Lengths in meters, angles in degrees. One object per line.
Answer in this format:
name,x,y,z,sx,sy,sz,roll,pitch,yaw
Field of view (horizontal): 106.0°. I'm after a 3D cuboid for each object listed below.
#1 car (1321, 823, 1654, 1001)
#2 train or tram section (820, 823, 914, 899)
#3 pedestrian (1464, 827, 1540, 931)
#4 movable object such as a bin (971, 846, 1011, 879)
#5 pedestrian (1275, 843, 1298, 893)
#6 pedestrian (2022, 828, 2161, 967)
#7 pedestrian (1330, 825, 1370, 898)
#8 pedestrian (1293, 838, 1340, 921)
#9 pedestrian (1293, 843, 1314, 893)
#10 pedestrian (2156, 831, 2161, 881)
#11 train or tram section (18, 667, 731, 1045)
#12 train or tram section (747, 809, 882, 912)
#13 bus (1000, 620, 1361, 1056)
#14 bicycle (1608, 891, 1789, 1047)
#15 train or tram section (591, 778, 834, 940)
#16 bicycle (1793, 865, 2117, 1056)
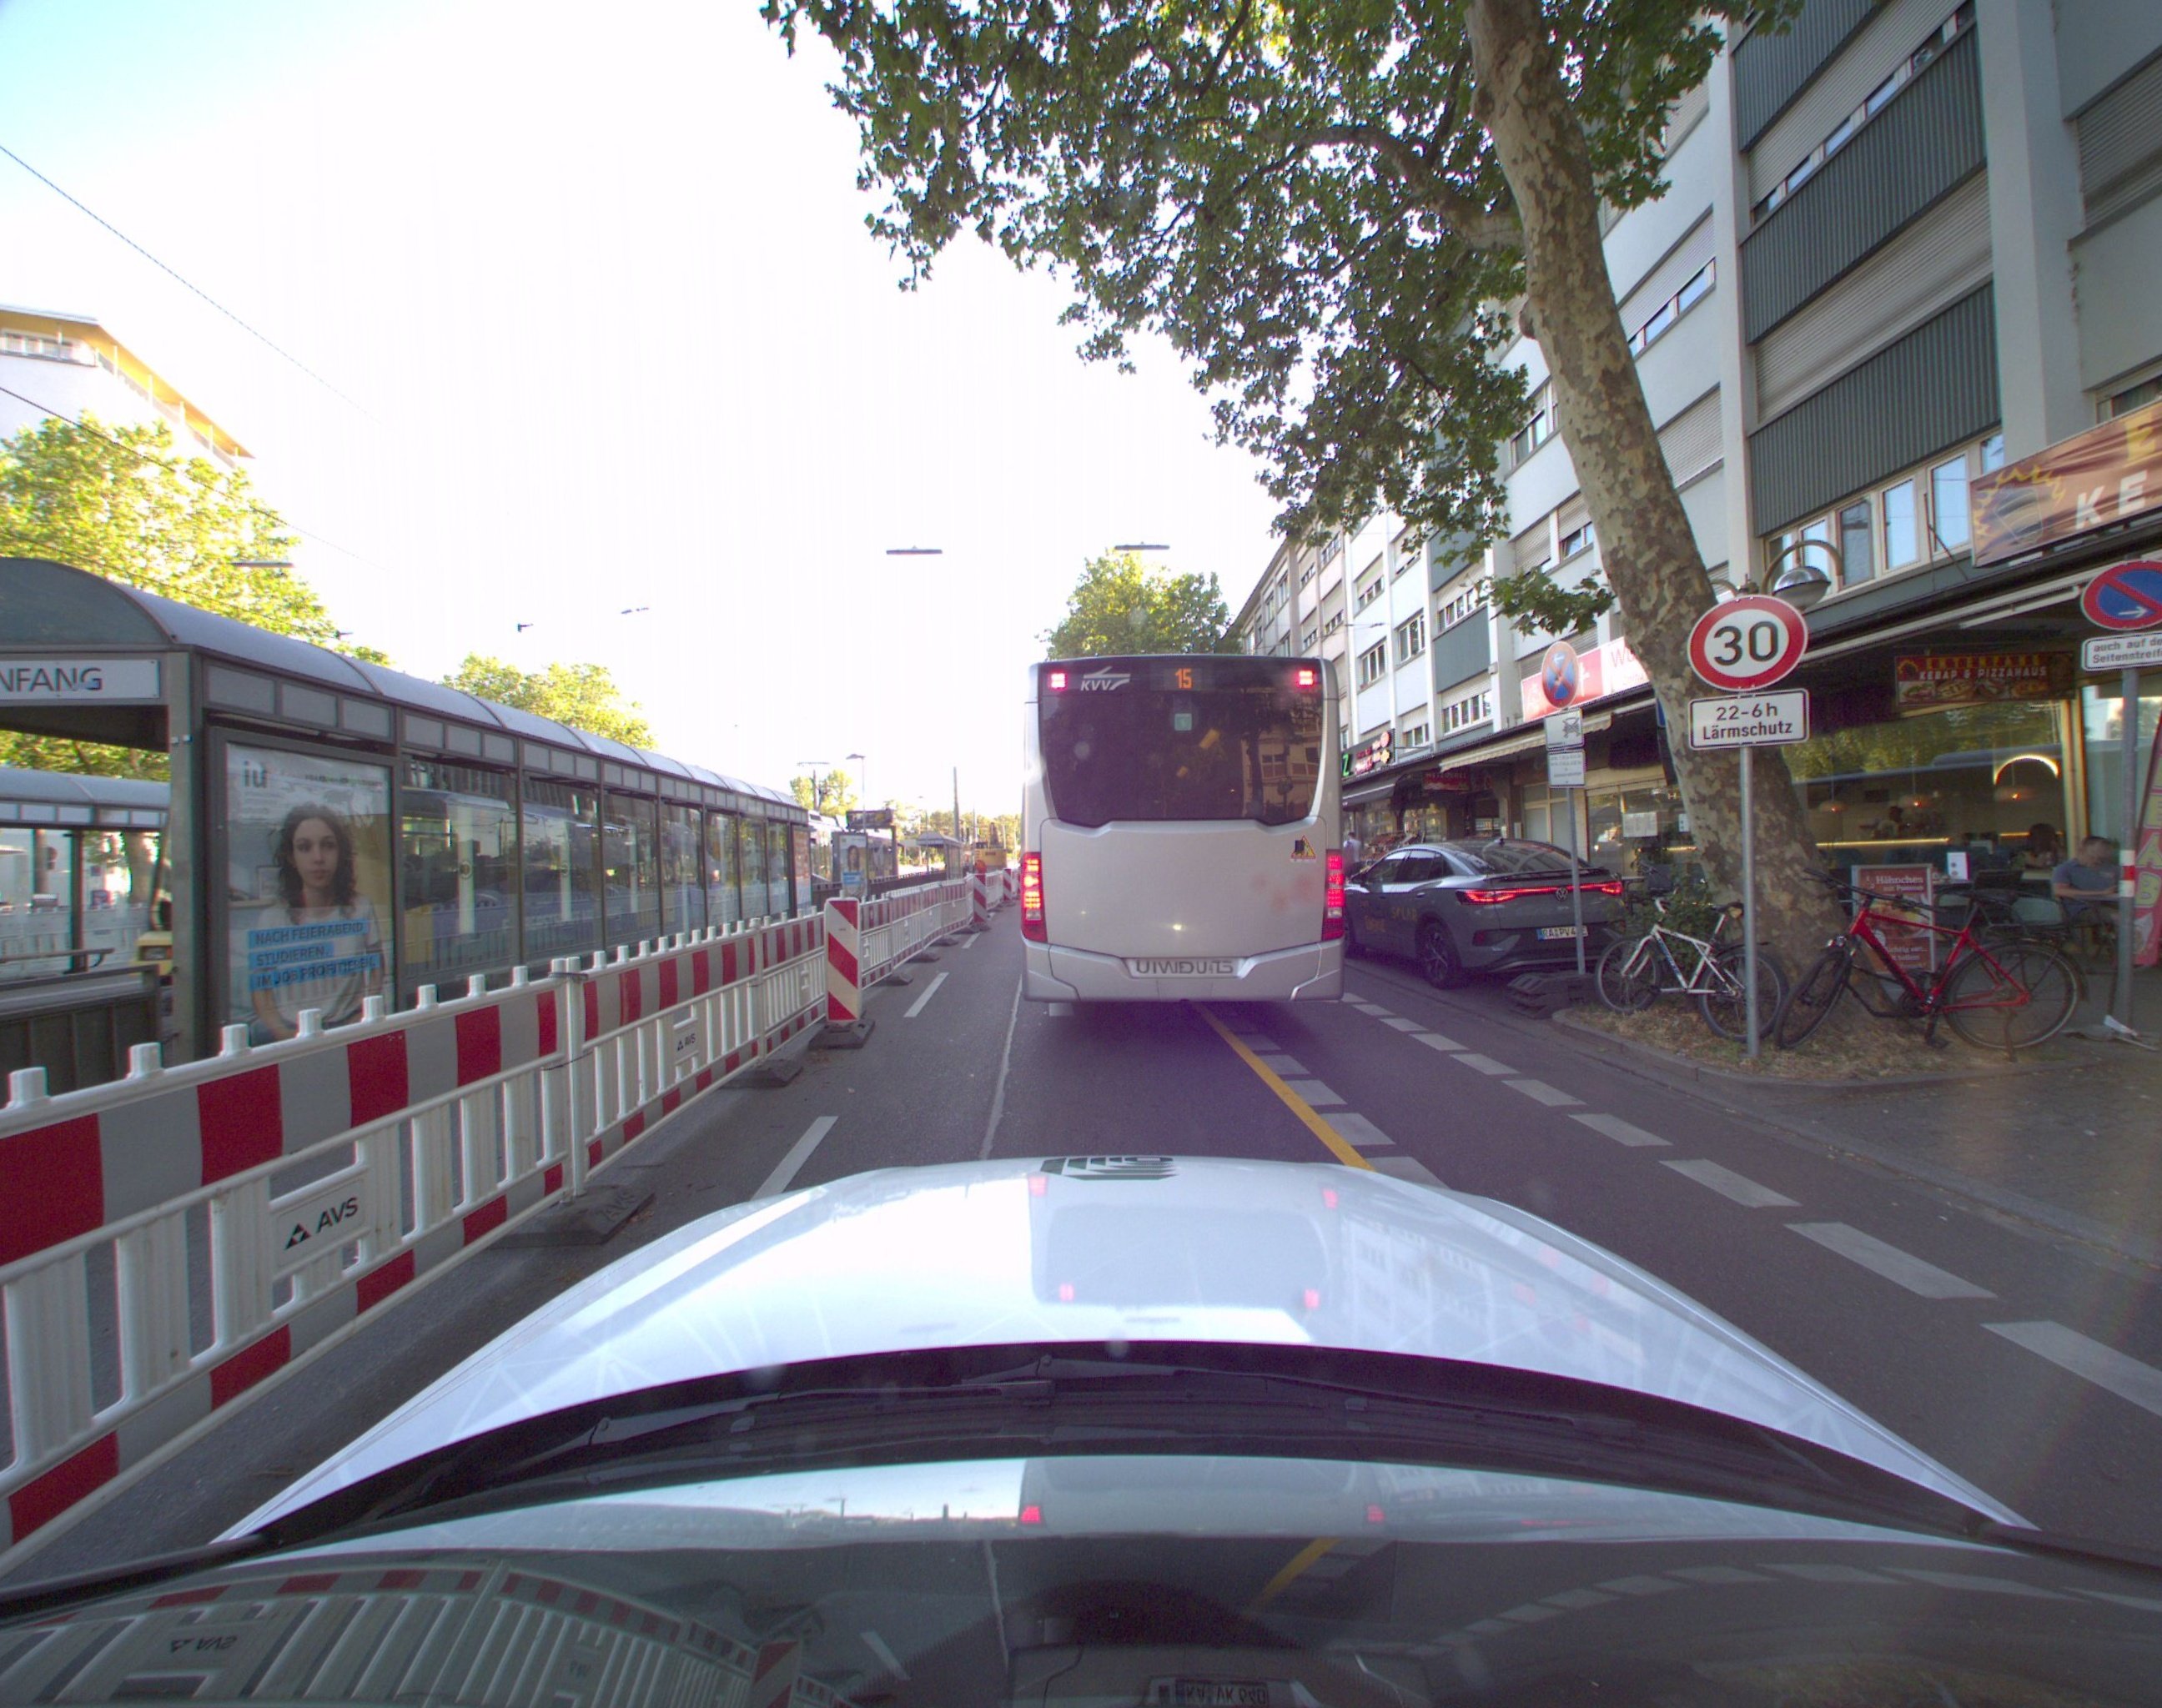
car,4.603,0.573,10.083,1.736,1.597,4.294,-4,0,-3
train or tram section,-11.168,0.364,43.643,2.810,3.487,10.324,-2,0,-4
pedestrian,6.684,0.384,12.929,0.882,1.581,0.742,-1,-1,-42
movable object such as a bin,-6.984,0.649,63.828,2.800,2.462,3.995,-2,0,-3
pedestrian,8.455,0.554,33.526,0.688,2.014,0.696,-2,-1,1
pedestrian,9.635,0.390,7.653,0.673,1.203,0.706,-5,-1,11
pedestrian,7.680,0.222,23.298,0.767,2.013,0.713,-3,-1,-2
pedestrian,5.073,0.545,17.557,0.750,1.726,0.660,-2,-1,-1
pedestrian,9.148,0.563,33.544,0.610,2.014,0.696,-2,-1,1
pedestrian,9.572,0.393,6.616,0.611,1.243,0.714,-5,-1,11
train or tram section,-8.819,0.031,12.814,2.831,3.487,10.320,-2,0,-5
train or tram section,-10.476,0.256,33.388,2.831,3.487,10.320,-2,0,-5
bus,0.932,-0.108,11.175,2.598,3.170,10.297,-1,0,2
bicycle,4.492,0.795,5.999,0.294,0.927,1.127,-6,2,-8
train or tram section,-9.653,0.145,23.061,2.866,3.487,10.320,-2,0,-5
bicycle,5.504,0.682,5.179,1.450,1.066,0.297,-6,2,13
